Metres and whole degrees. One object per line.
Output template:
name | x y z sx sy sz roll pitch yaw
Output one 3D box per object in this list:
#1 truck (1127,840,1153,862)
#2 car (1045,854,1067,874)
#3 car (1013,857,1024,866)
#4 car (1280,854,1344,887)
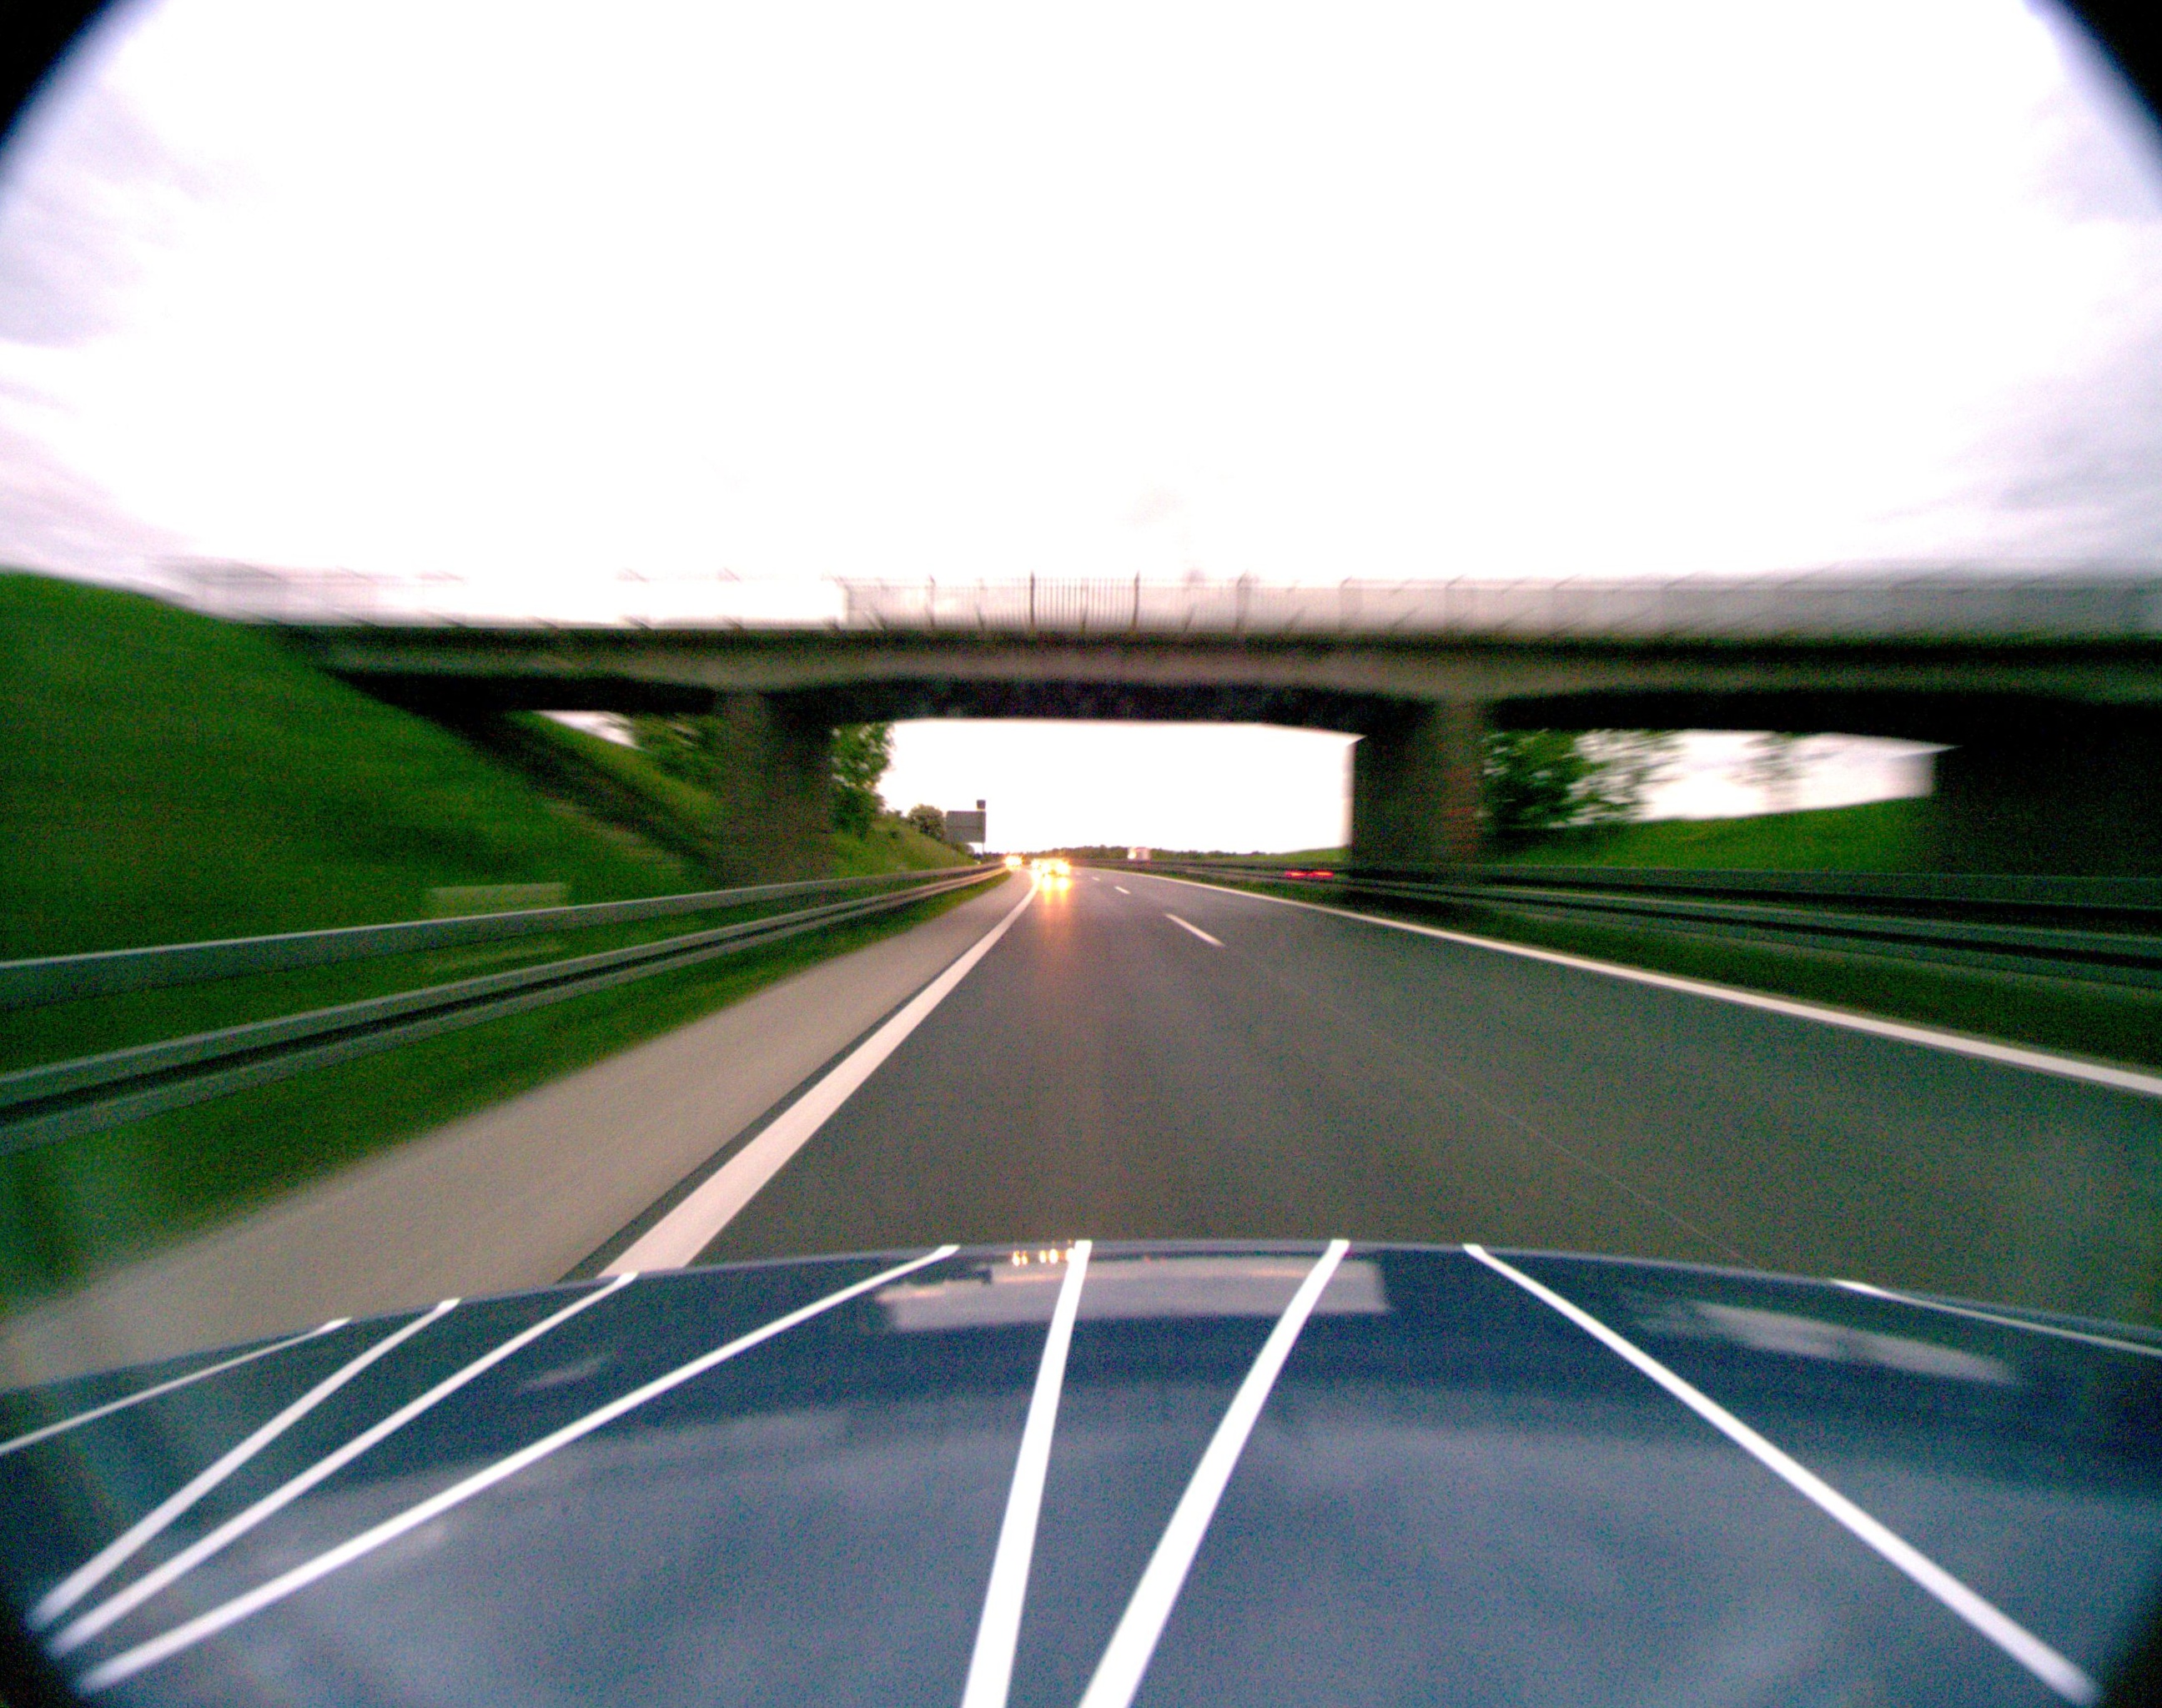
truck | 8.684 -0.438 112.418 2.620 3.091 6.665 -2 0 -5
car | -2.043 0.793 62.041 1.682 1.504 3.998 -1 0 -4
car | -12.517 1.471 151.590 1.920 1.827 3.998 0 -1 -7
car | 11.274 0.791 37.404 1.738 1.412 3.999 -4 0 -2
